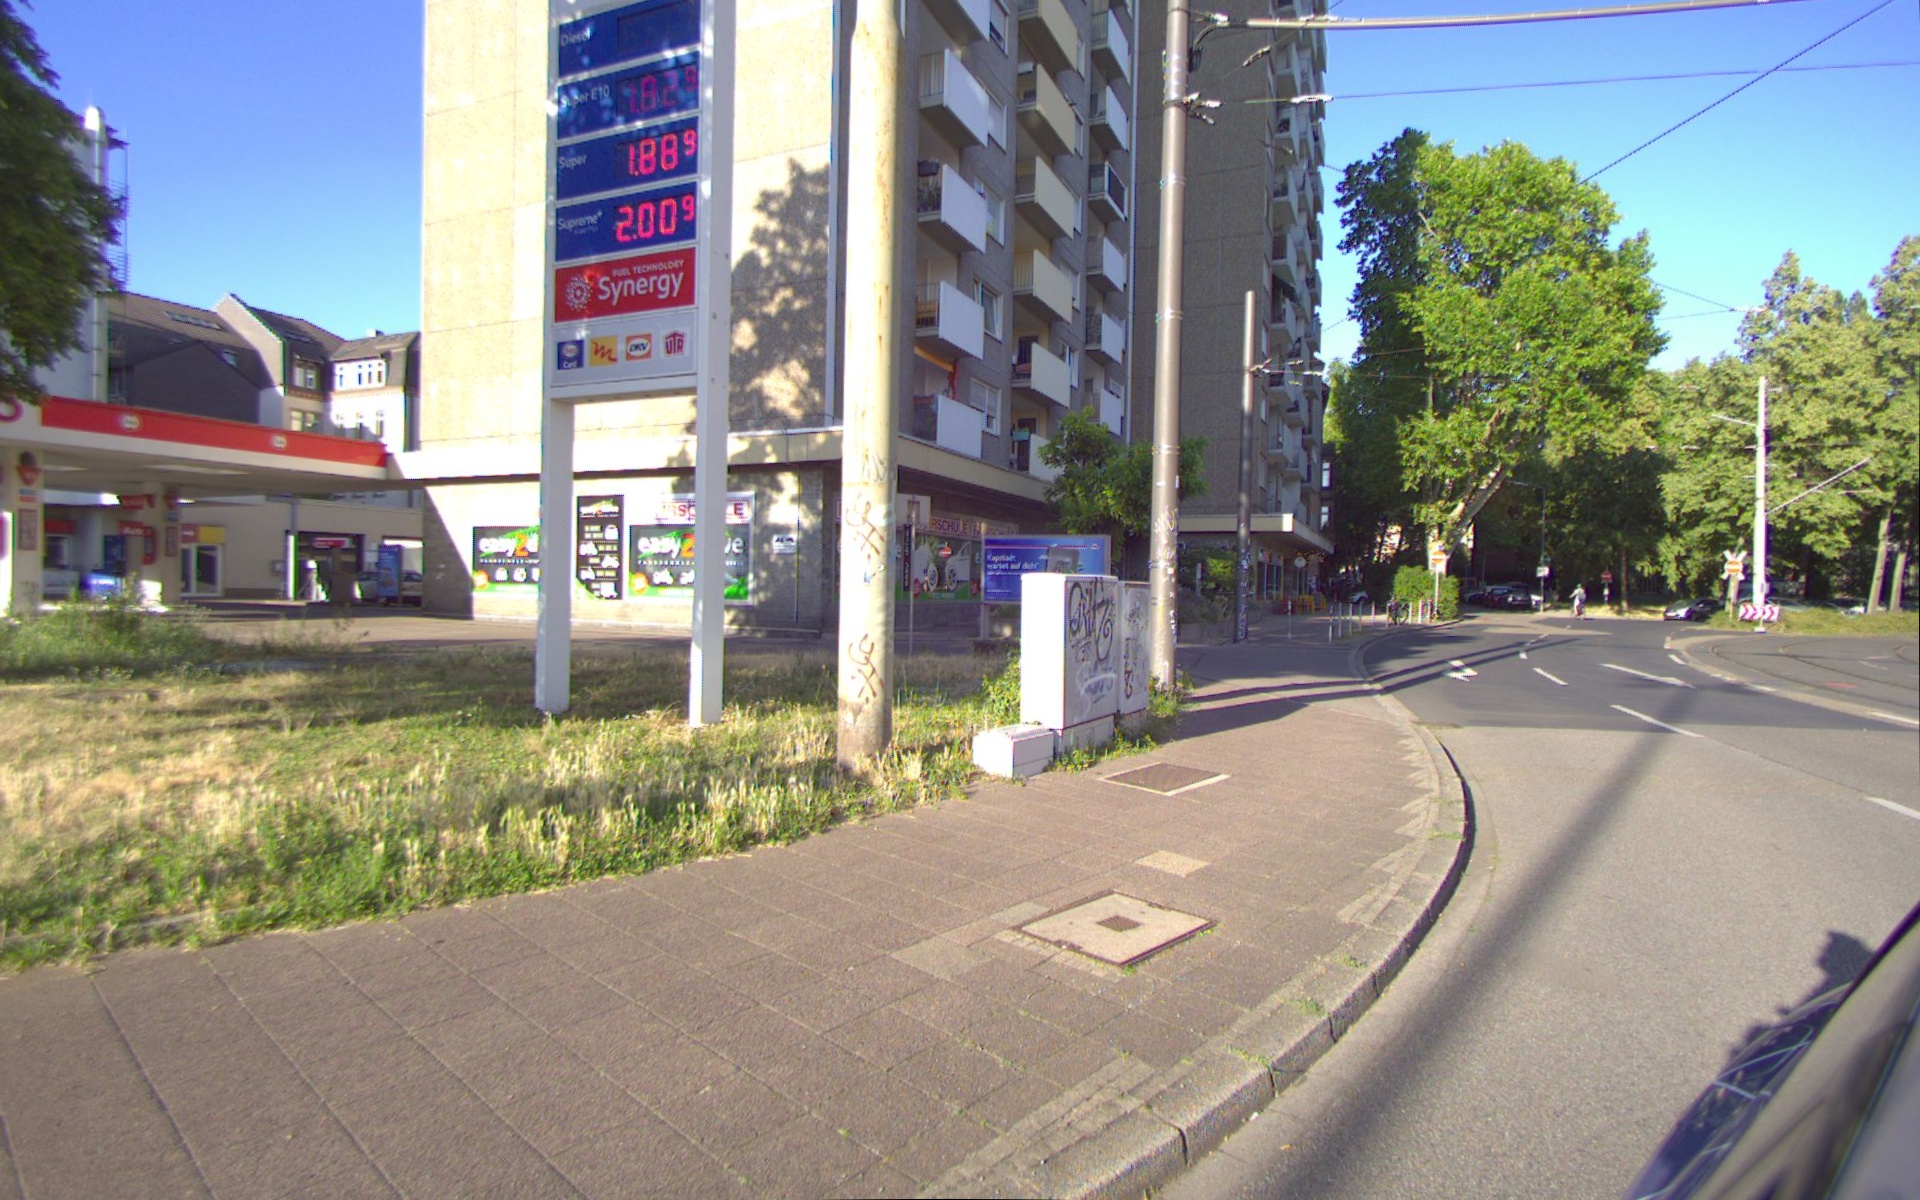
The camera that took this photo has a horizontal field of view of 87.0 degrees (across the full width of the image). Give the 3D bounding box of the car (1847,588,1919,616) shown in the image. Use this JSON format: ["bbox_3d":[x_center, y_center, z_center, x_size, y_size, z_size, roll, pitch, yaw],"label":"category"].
[{"bbox_3d":[49.287,0.097,53.219,1.705,1.370,3.696,1,1,-11],"label":"car"}]

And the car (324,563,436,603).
[{"bbox_3d":[-22.405,-0.679,39.096,4.214,1.438,1.735,2,1,27],"label":"car"}]

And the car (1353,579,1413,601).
[{"bbox_3d":[31.830,-0.746,76.246,3.943,1.527,1.877,1,1,15],"label":"car"}]

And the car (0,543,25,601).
[{"bbox_3d":[-24.729,-0.747,23.830,3.934,1.371,1.995,3,1,9],"label":"car"}]

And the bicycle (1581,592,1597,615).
[{"bbox_3d":[33.380,0.158,53.678,0.607,1.190,1.928,1,1,34],"label":"bicycle"}]

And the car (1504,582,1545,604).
[{"bbox_3d":[39.921,-0.543,71.627,1.717,1.466,3.612,1,1,17],"label":"car"}]

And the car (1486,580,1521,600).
[{"bbox_3d":[41.443,-0.758,77.260,1.514,1.466,3.906,1,1,17],"label":"car"}]

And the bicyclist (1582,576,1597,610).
[{"bbox_3d":[33.413,-0.365,53.713,0.603,1.785,1.047,1,1,35],"label":"bicyclist"}]

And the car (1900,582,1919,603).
[{"bbox_3d":[84.190,-0.615,87.251,1.959,1.727,4.364,1,1,-7],"label":"car"}]

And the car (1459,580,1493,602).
[{"bbox_3d":[45.928,-0.844,90.198,1.746,1.880,4.211,1,1,14],"label":"car"}]

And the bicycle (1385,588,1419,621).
[{"bbox_3d":[16.388,0.146,37.500,0.607,1.149,2.249,2,1,38],"label":"bicycle"}]

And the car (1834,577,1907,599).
[{"bbox_3d":[75.456,-1.045,83.978,1.962,1.771,4.445,1,1,-1],"label":"car"}]

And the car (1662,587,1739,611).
[{"bbox_3d":[46.076,-0.086,62.957,3.916,1.415,1.955,0,1,-19],"label":"car"}]

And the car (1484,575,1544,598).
[{"bbox_3d":[44.444,-1.108,81.279,3.869,1.783,1.529,1,1,14],"label":"car"}]

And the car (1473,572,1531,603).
[{"bbox_3d":[44.789,-1.035,83.656,3.869,2.435,1.529,1,1,14],"label":"car"}]

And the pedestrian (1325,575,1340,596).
[{"bbox_3d":[36.595,-1.411,99.470,1.196,2.039,1.201,1,1,16],"label":"pedestrian"}]

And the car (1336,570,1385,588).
[{"bbox_3d":[36.719,-1.903,92.837,3.943,1.527,1.877,1,1,15],"label":"car"}]

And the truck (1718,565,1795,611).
[{"bbox_3d":[51.123,-0.766,64.931,4.784,2.818,2.003,0,1,-27],"label":"truck"}]
